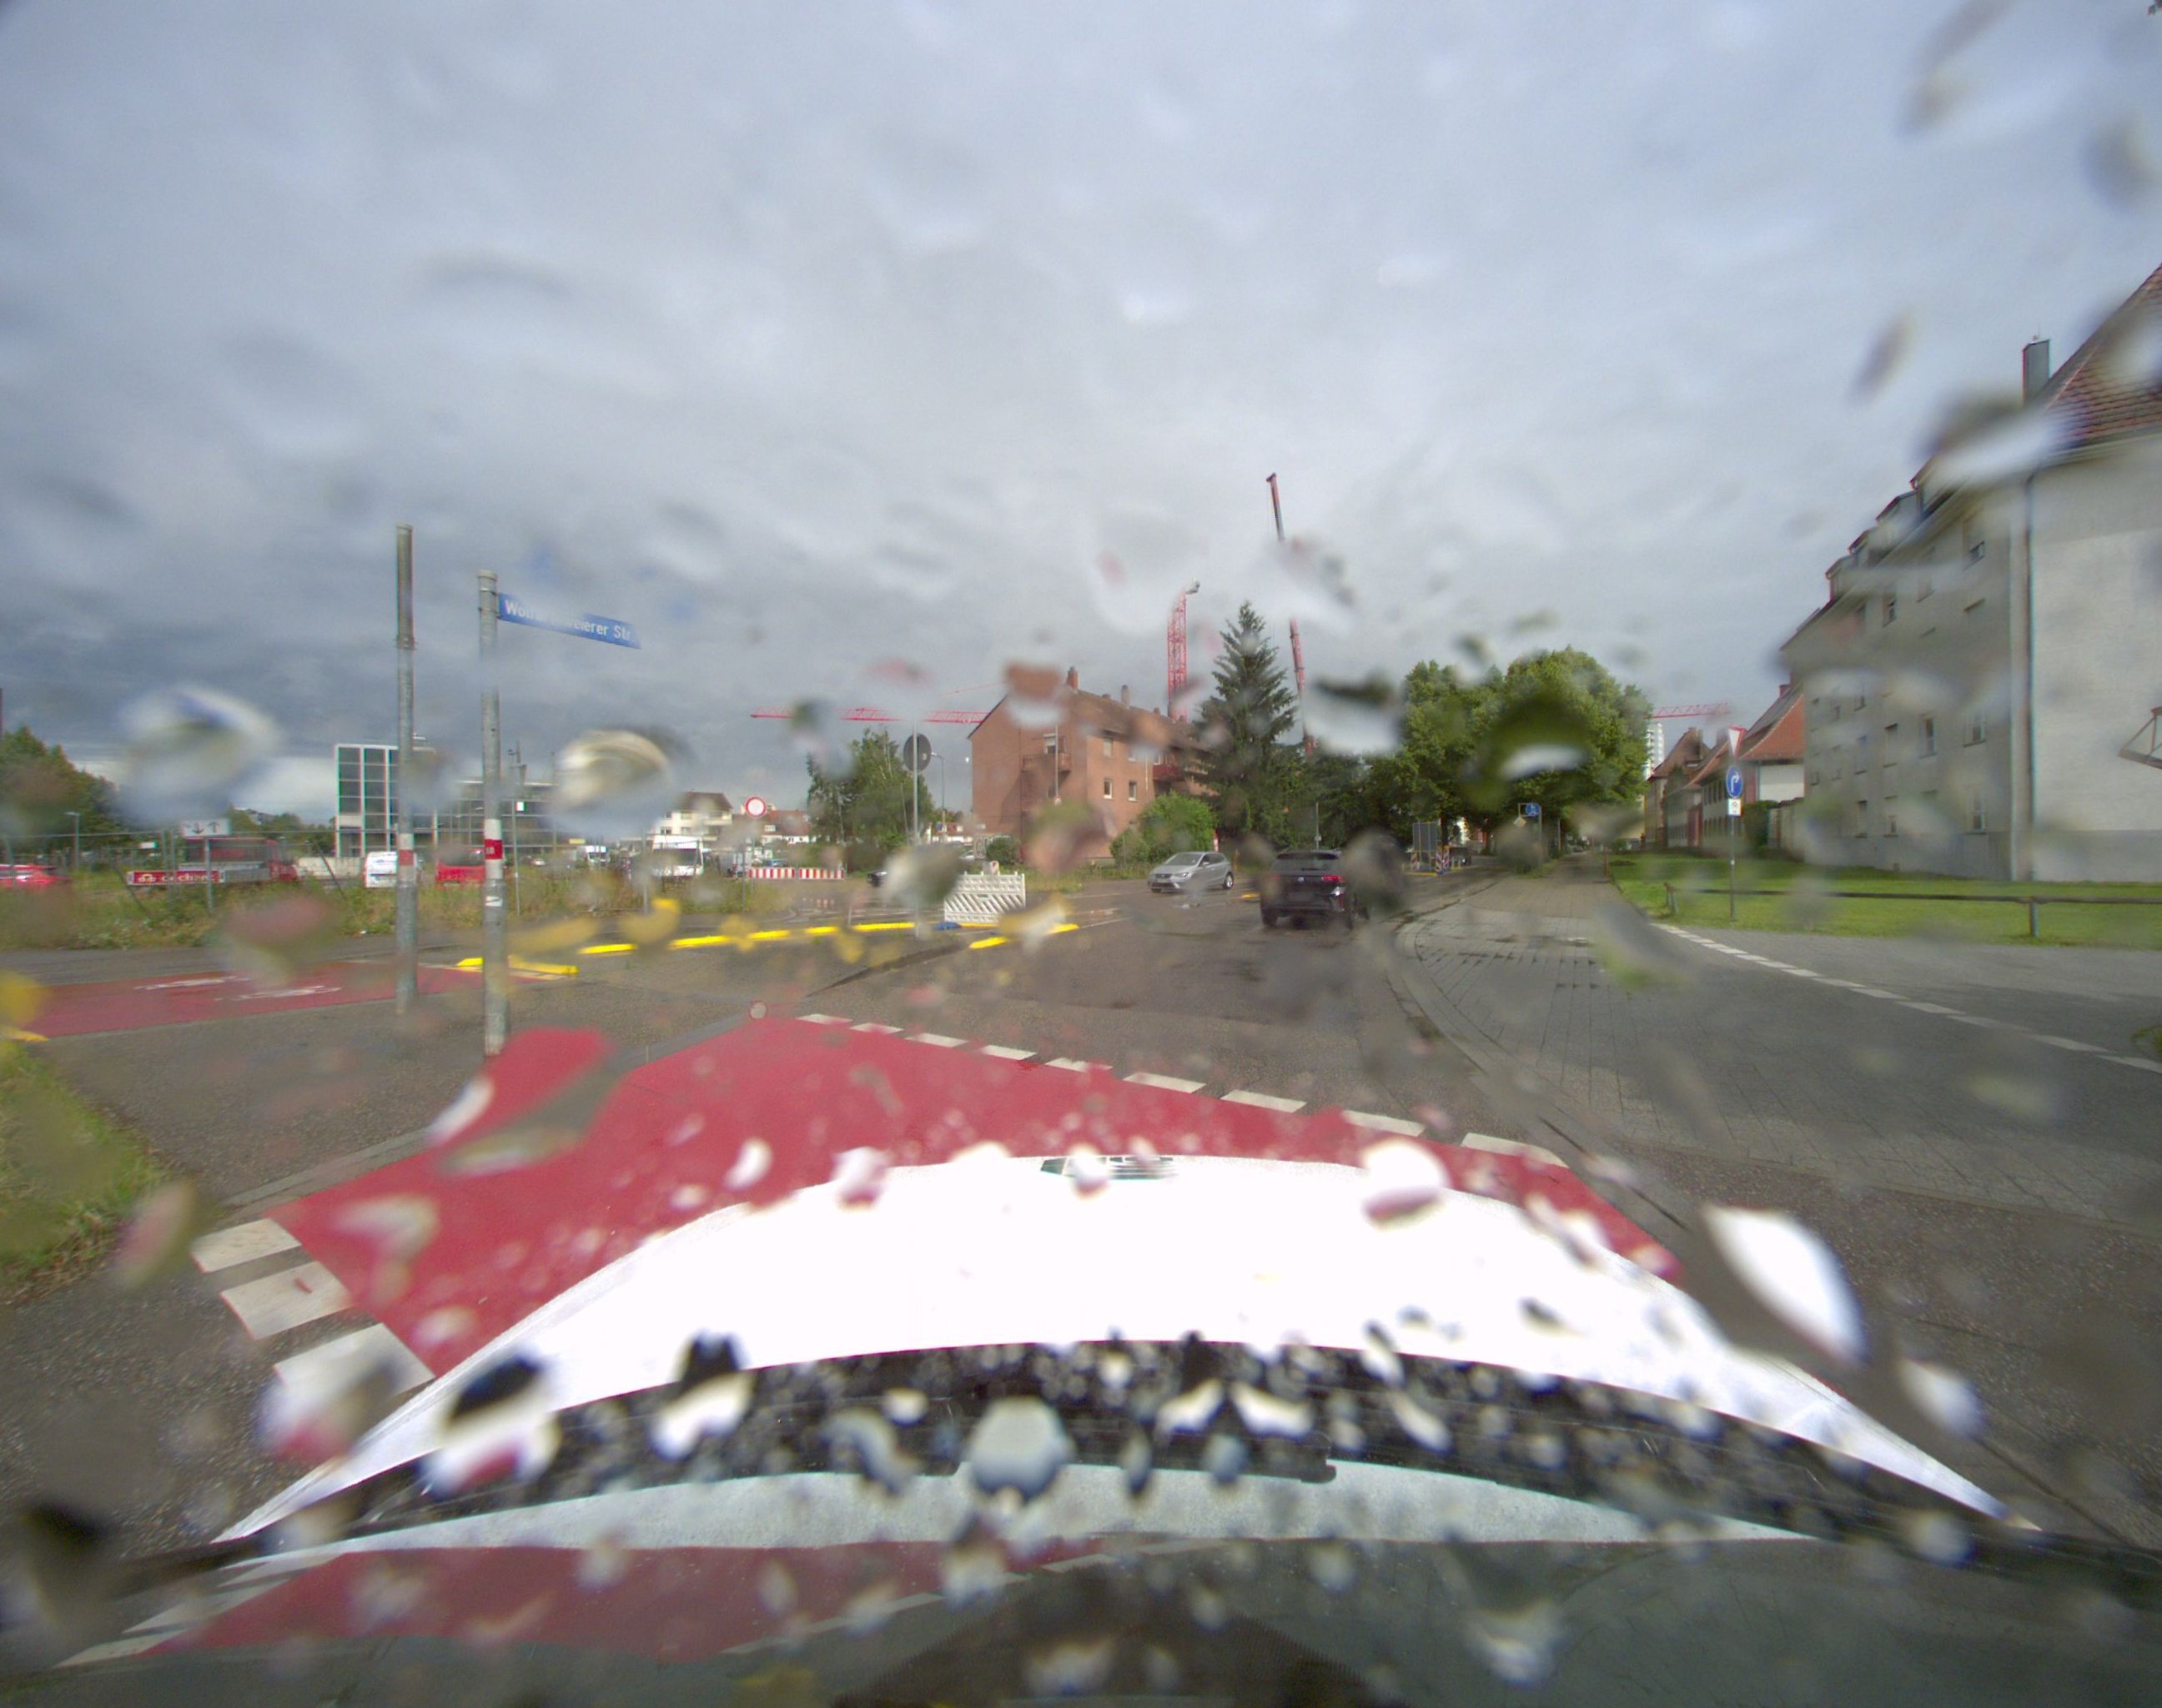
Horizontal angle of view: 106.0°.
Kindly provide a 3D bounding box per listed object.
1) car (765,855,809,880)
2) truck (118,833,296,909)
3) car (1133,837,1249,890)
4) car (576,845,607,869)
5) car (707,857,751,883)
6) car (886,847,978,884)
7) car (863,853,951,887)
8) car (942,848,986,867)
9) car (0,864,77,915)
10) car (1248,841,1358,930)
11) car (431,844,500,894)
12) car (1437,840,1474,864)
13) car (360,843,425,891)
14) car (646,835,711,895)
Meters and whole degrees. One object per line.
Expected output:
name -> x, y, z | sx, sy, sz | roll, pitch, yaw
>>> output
car -> -25.765, 1.192, 71.300 | 3.950, 2.123, 2.012 | -1, 0, 44
truck -> -29.390, 0.428, 27.723 | 2.404, 2.211, 6.044 | 0, 2, -30
car -> 4.151, 0.276, 30.119 | 2.055, 1.732, 4.728 | 2, 2, 39
car -> -47.211, 0.284, 78.605 | 2.387, 2.084, 4.925 | 0, 2, -29
car -> -29.756, 1.351, 68.874 | 3.950, 2.123, 2.012 | -1, 0, 44
car -> -7.166, 0.523, 39.152 | 4.067, 1.632, 1.603 | -1, 0, -27
car -> -8.800, 0.776, 41.177 | 4.067, 1.632, 1.603 | -1, 0, -27
car -> -9.911, 0.304, 69.241 | 3.502, 1.519, 1.615 | -1, 0, -4
car -> -35.451, 1.154, 25.870 | 4.215, 1.510, 1.836 | -1, 2, -42
car -> 4.779, 0.551, 17.145 | 1.882, 1.617, 4.020 | 1, 1, 20
car -> -23.827, 0.531, 31.628 | 1.938, 1.700, 3.958 | 0, 2, -34
car -> 29.654, -0.180, 64.398 | 2.055, 1.732, 4.728 | 2, 2, 32
car -> -27.408, 0.453, 32.506 | 1.867, 1.700, 3.955 | -1, 2, -39
car -> -16.355, 0.335, 32.933 | 2.049, 2.084, 6.208 | 0, 2, -29
